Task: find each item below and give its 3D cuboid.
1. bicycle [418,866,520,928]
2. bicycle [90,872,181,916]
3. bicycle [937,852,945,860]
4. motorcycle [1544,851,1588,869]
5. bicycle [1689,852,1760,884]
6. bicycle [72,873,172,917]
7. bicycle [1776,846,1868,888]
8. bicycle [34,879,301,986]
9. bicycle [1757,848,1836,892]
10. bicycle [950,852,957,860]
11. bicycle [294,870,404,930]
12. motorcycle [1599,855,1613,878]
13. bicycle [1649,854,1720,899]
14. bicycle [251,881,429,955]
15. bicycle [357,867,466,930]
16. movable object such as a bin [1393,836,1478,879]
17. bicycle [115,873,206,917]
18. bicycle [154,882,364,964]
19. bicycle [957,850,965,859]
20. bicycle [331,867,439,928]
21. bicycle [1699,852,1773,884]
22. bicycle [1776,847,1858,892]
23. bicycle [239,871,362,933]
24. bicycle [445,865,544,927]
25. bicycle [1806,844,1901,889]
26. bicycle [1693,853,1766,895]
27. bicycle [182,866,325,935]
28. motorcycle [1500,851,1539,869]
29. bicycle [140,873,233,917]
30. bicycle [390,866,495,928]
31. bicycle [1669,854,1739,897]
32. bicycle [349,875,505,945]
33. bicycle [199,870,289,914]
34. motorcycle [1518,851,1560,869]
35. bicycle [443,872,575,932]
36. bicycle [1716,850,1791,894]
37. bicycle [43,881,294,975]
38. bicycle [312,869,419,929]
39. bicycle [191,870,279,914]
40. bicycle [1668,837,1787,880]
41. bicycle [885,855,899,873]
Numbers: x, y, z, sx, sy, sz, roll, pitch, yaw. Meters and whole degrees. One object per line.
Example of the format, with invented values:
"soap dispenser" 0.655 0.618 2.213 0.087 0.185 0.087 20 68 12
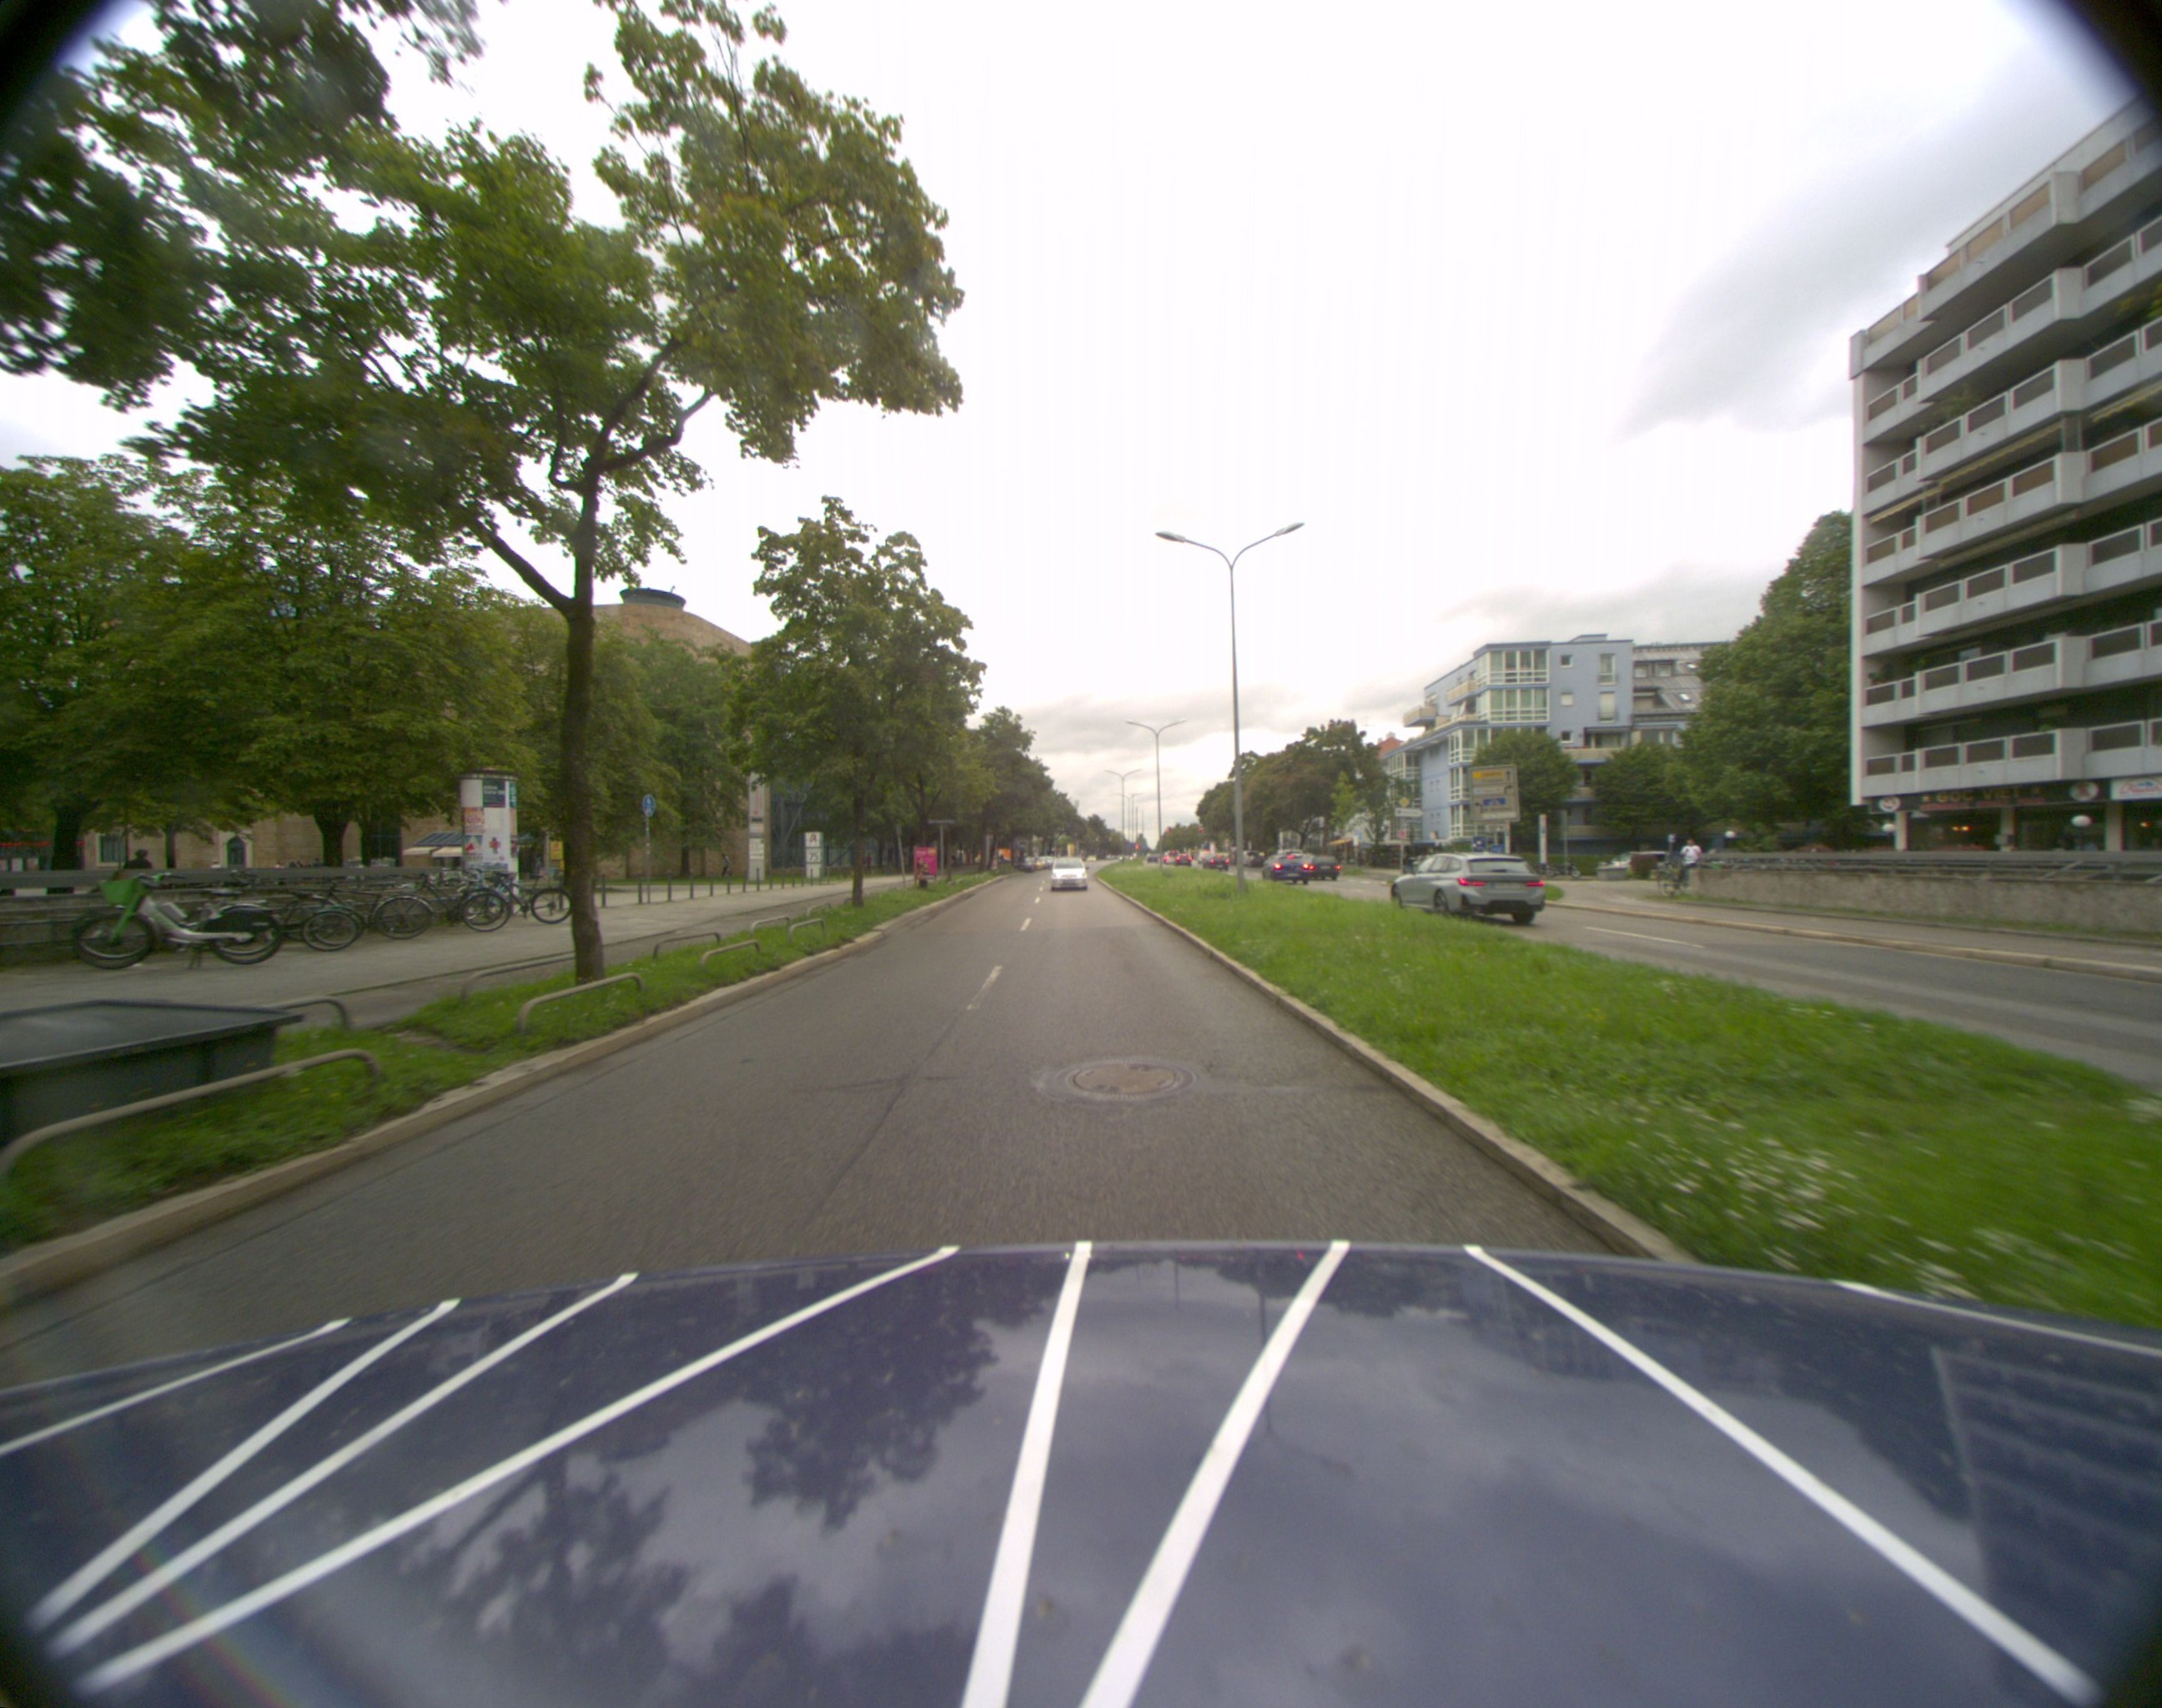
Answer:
"bicycle" -12.782 0.870 15.957 0.489 1.182 1.954 -1 1 1
"bicycle" -29.527 1.218 23.780 0.510 1.253 1.953 -1 1 -6
"bicycle" -17.905 0.233 97.371 0.618 0.935 1.762 -1 1 3
"motorcycle" 30.659 0.358 48.063 0.499 1.126 2.473 -1 1 -24
"bicycle" 22.924 0.500 27.089 1.951 1.097 0.560 0 1 8
"bicycle" -30.141 1.260 23.937 0.554 1.253 2.174 -1 1 -6
"bicycle" 22.237 0.379 22.827 1.952 1.097 0.560 -5 0 8
"bicycle" -10.964 0.914 9.226 1.958 1.182 0.595 2 -1 -29
"bicycle" 19.004 0.405 20.237 0.409 1.097 1.955 -5 0 7
"bicycle" -16.484 0.233 98.389 0.512 0.935 2.142 -1 0 3
"bicycle" -16.058 0.965 16.747 0.513 1.182 2.140 -1 1 -6
"motorcycle" 25.173 0.580 36.474 0.418 1.080 1.787 0 1 30
"bicycle" 16.081 0.569 20.310 0.409 1.083 2.085 -5 0 7
"bicycle" -11.615 0.973 12.007 1.958 1.060 0.578 2 1 -40
"bicycle" -13.974 0.899 15.944 0.489 1.182 1.954 -1 1 1
"movable object such as a bin" 17.023 0.159 36.706 2.199 1.941 3.999 -1 0 -1
"bicycle" -28.805 1.252 23.829 0.510 1.253 2.021 -1 1 -6
"bicycle" -11.649 0.946 10.881 1.958 1.077 0.595 2 -1 -40
"bicycle" -15.548 0.067 98.484 0.512 1.186 2.141 -1 1 3
"bicycle" -14.821 0.894 16.256 0.446 1.182 1.954 -1 1 1
"bicycle" 22.829 0.499 26.508 1.951 1.097 0.560 0 1 8
"bicycle" 19.523 0.388 20.200 0.409 1.090 1.955 -5 0 7
"bicycle" -16.715 0.982 16.364 0.579 1.182 2.140 -1 1 -6
"bicycle" -12.261 0.845 15.960 0.489 1.182 1.954 -1 1 1
"bicycle" 22.052 0.356 21.712 1.952 1.097 0.489 -5 0 8
"bicycle" 17.283 0.513 20.300 0.409 1.034 1.955 -5 0 7
"bicycle" -17.472 0.934 16.158 0.510 1.287 2.477 -1 1 -6
"motorcycle" 27.968 0.374 48.555 0.498 1.126 2.474 -1 1 -17
"bicycle" -28.206 1.254 24.015 0.510 1.253 2.174 -1 1 -6
"bicycle" -13.365 0.871 15.980 0.489 1.182 1.954 -1 1 1
"bicycle" 16.611 0.545 20.311 0.409 1.071 1.955 -5 0 7
"bicycle" -11.492 0.953 13.438 2.045 1.083 0.603 0 3 -40
"bicycle" -26.148 1.165 23.784 0.608 1.253 2.055 -1 1 -4
"motorcycle" 29.166 0.368 48.381 0.499 1.126 2.473 -1 1 -22
"bicycle" -11.283 0.920 15.035 2.036 1.093 0.578 1 2 -41
"bicycle" 17.828 0.456 20.200 0.409 1.066 1.955 -5 0 7
"bicycle" -11.665 0.931 9.829 1.959 1.101 0.579 4 -2 -40
"bicycle" -15.500 0.936 16.541 0.447 1.182 2.140 -1 1 -6
"bicycle" -26.812 1.182 24.134 0.510 1.253 2.174 -1 1 -6
"bicycle" 23.555 0.173 27.741 3.333 1.276 0.788 -5 0 8
"bicycle" -13.634 0.682 54.836 0.622 1.243 1.920 0 1 -2
